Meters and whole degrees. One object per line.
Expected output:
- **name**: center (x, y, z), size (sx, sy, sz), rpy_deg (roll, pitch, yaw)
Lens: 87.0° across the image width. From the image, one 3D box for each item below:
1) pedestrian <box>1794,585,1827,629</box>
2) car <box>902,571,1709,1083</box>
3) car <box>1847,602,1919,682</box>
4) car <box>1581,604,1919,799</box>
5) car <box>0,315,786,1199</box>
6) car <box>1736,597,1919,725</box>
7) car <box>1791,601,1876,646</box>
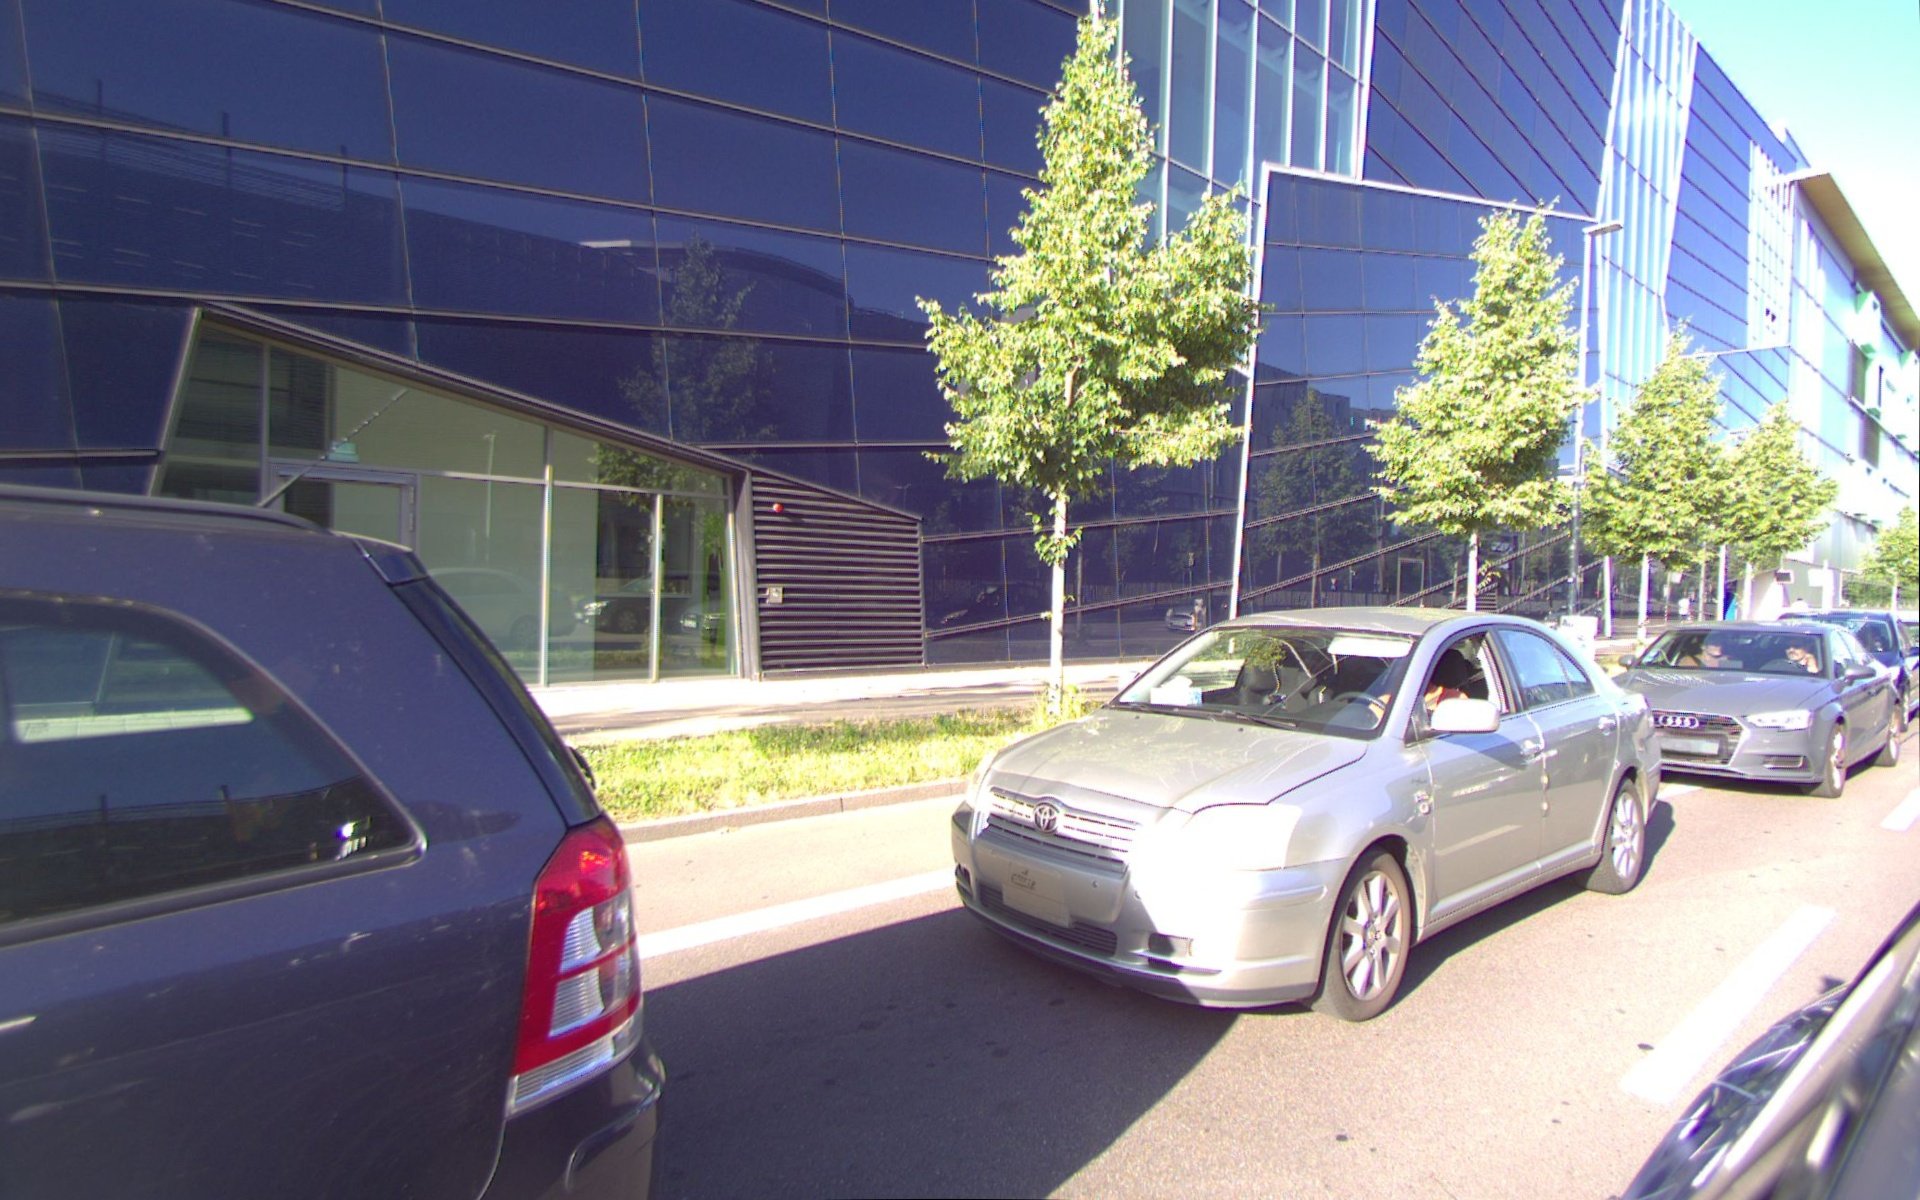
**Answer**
- **pedestrian**: center (37.654, 0.294, 44.797), size (0.889, 1.846, 0.829), rpy_deg (1, 4, -41)
- **car**: center (2.054, 0.648, 5.121), size (4.546, 1.500, 1.750), rpy_deg (0, 2, -40)
- **car**: center (19.288, 0.818, 20.363), size (3.358, 1.497, 1.752), rpy_deg (1, 0, -41)
- **car**: center (7.653, 0.767, 9.578), size (4.187, 1.409, 1.750), rpy_deg (0, 1, -39)
- **car**: center (-2.415, 0.583, 0.875), size (4.186, 1.717, 1.749), rpy_deg (0, -1, -41)
- **car**: center (12.212, 0.732, 13.897), size (3.902, 1.497, 1.752), rpy_deg (1, 0, -41)
- **car**: center (32.857, 0.851, 38.034), size (4.633, 1.516, 1.739), rpy_deg (1, 3, -41)
